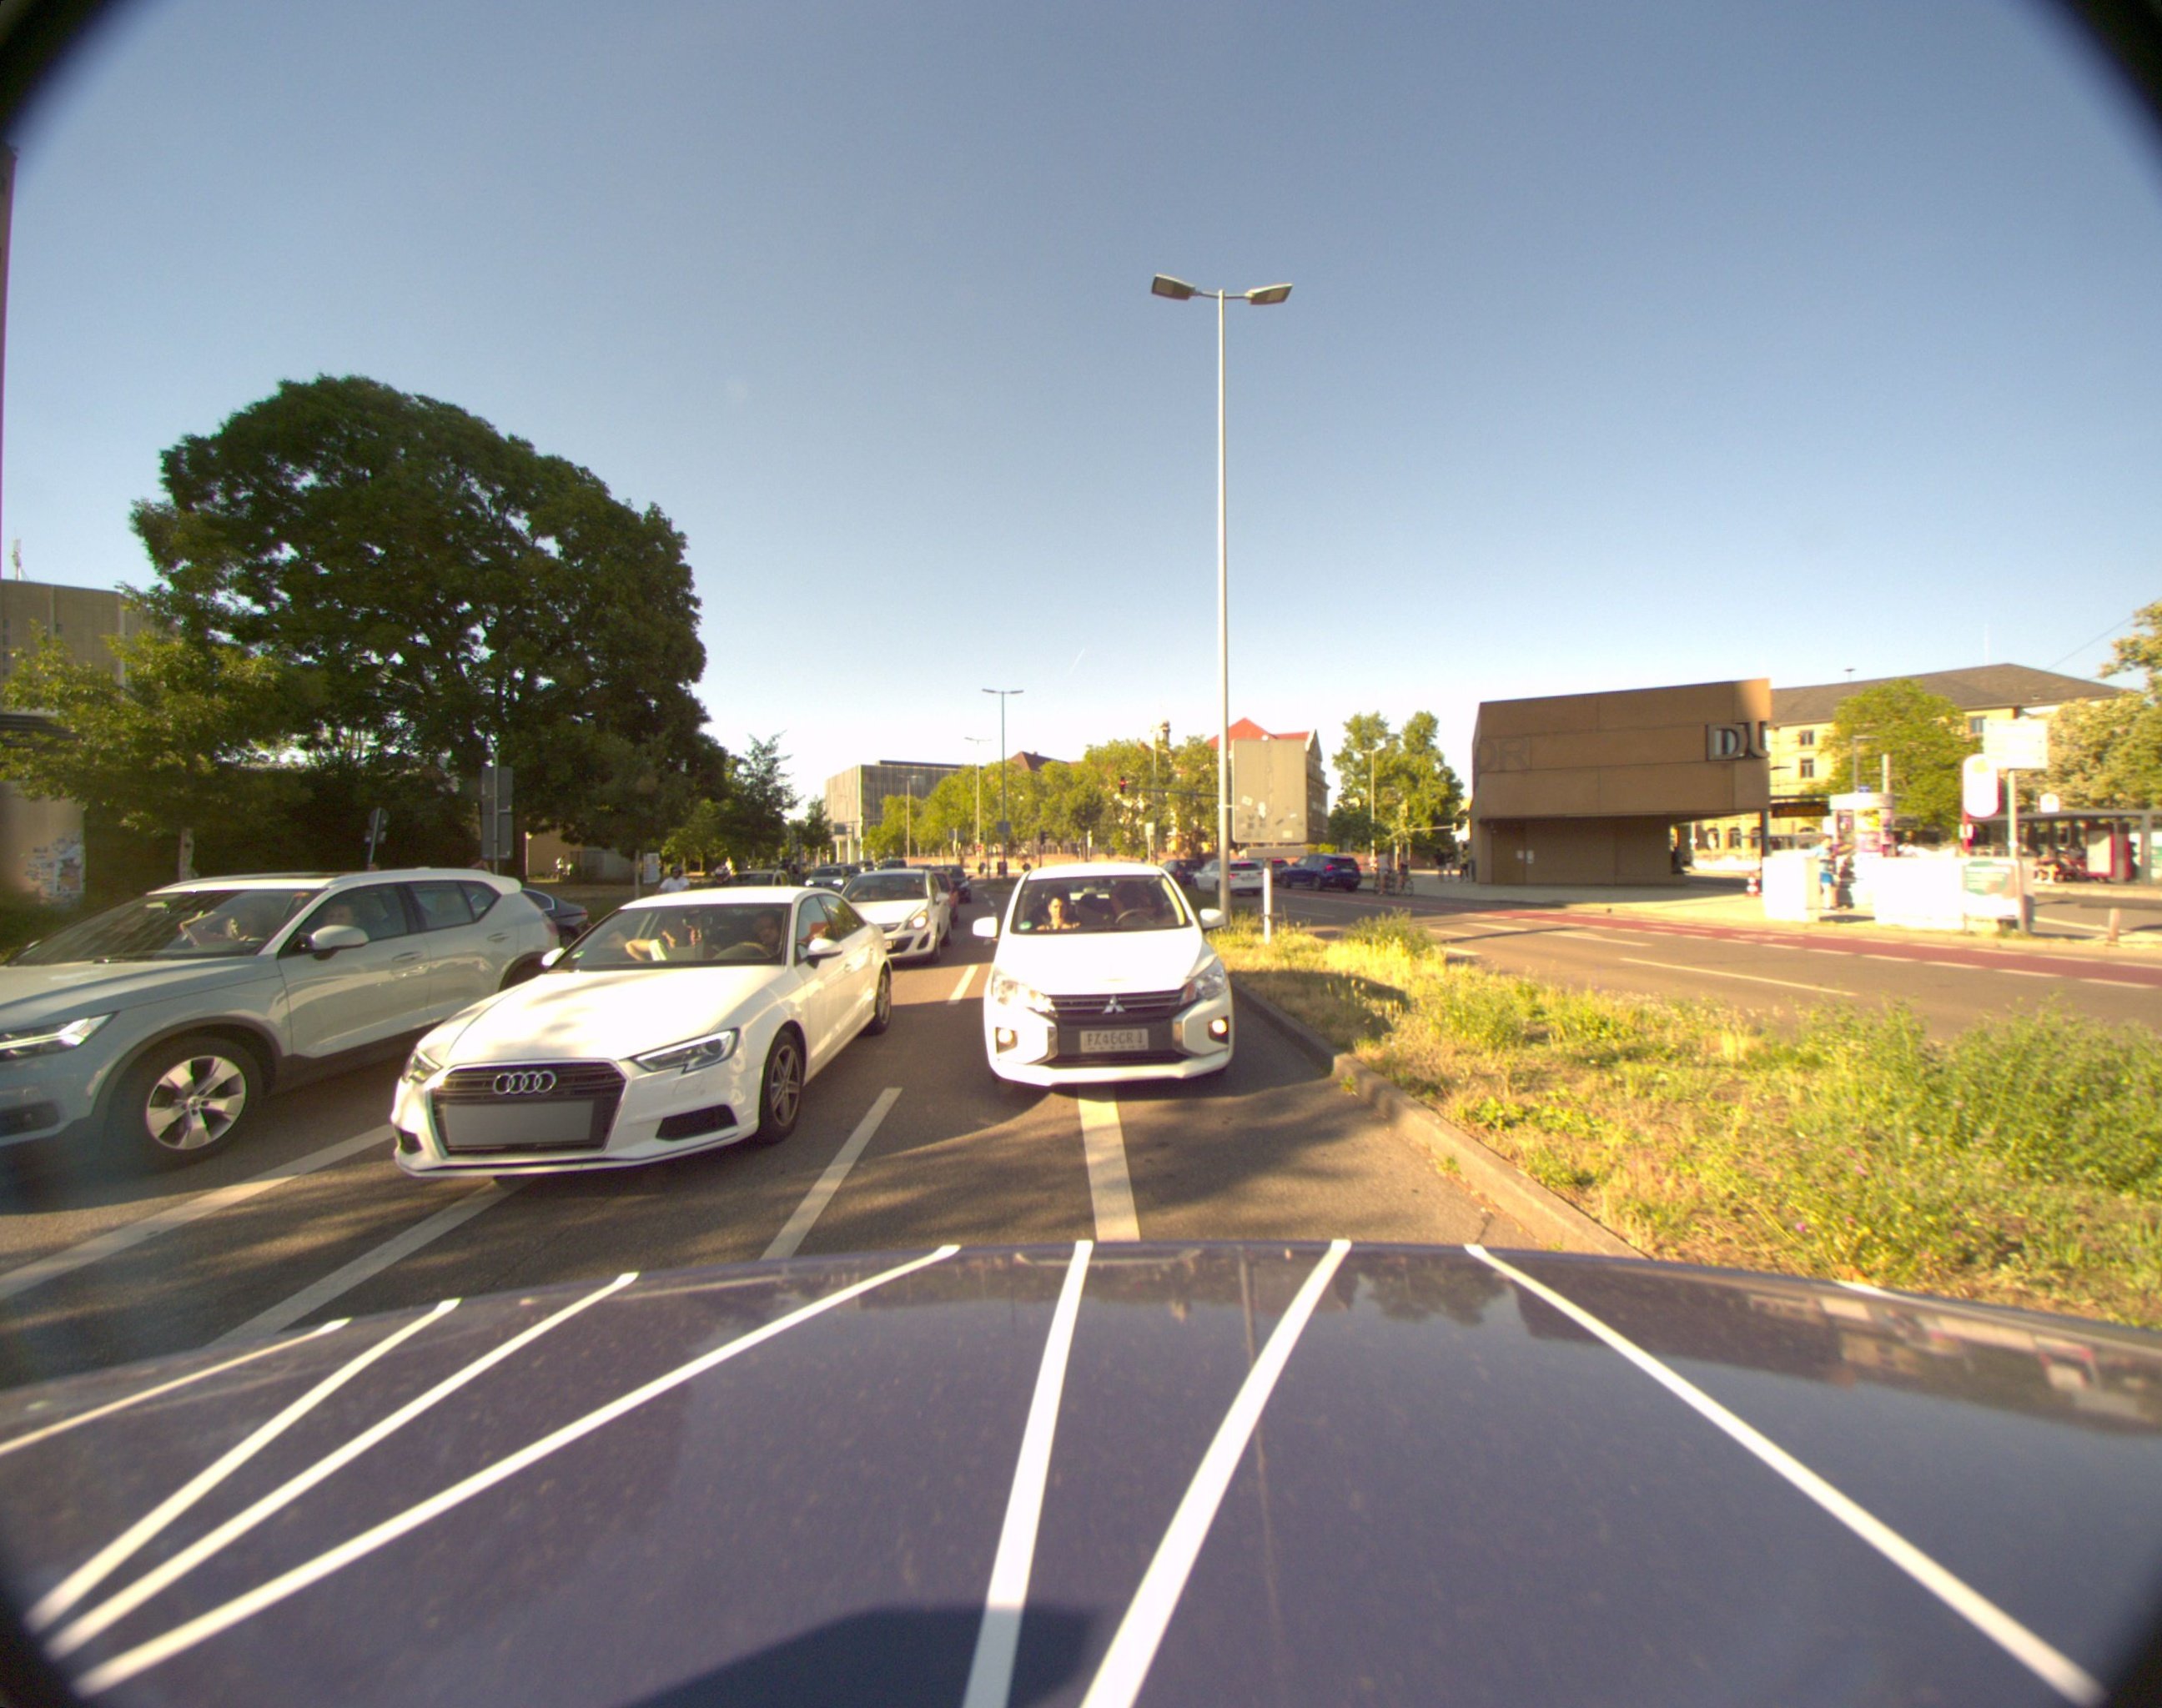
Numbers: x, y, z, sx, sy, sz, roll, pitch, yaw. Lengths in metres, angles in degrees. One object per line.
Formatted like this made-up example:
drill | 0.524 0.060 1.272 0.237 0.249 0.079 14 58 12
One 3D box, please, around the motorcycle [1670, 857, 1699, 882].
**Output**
motorcycle | 26.348 0.694 33.170 0.948 1.061 0.331 -1 1 39

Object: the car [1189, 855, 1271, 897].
car | 6.038 0.851 31.336 1.850 1.483 4.388 -2 1 -10

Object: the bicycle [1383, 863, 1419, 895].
bicycle | 12.439 0.975 29.593 0.464 1.185 1.395 -3 1 -17

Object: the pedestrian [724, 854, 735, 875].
pedestrian | -25.263 0.736 54.591 0.548 1.521 0.603 -3 1 -19

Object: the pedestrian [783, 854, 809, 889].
pedestrian | -16.883 1.010 45.076 1.143 2.002 1.285 -2 1 -10

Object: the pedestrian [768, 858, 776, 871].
pedestrian | -47.658 1.648 117.107 0.840 2.002 1.065 -3 1 -30

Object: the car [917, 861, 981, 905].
car | -5.168 1.051 29.306 1.748 1.536 3.993 -1 0 -20

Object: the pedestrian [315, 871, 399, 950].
pedestrian | -16.691 1.284 17.539 1.010 1.711 0.884 -2 1 -10

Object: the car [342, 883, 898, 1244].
car | -2.557 1.032 5.394 1.628 1.396 3.832 -2 1 -2

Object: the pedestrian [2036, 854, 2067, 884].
pedestrian | 39.016 0.602 30.552 0.539 1.180 0.659 -2 1 29

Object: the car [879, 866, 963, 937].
car | -3.900 1.092 19.100 1.628 1.451 4.039 -2 1 -7

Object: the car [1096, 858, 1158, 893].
car | 2.105 0.981 35.988 1.757 1.451 4.184 -2 1 -13

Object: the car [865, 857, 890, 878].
car | -17.343 1.124 64.638 1.748 1.696 3.993 -1 0 -20

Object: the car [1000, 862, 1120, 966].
car | -0.210 0.948 13.758 1.755 1.451 4.189 -2 1 3

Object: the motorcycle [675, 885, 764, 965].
motorcycle | -6.911 1.308 14.672 0.718 1.297 2.234 -2 1 -4

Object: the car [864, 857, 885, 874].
car | -22.530 1.231 82.695 1.881 1.805 3.993 -1 0 -19

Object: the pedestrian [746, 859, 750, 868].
pedestrian | -58.561 1.648 133.671 0.409 1.476 0.486 -1 1 1

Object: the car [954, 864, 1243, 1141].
car | 0.053 0.889 6.437 1.628 1.451 4.040 -2 1 -2

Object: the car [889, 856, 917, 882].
car | -12.869 1.065 54.954 1.880 1.805 3.995 -1 0 -14

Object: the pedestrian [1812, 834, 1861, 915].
pedestrian | 18.178 0.479 18.297 0.797 1.886 0.612 0 1 40

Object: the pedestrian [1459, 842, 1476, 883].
pedestrian | 19.184 0.443 37.720 0.655 2.002 0.469 -2 1 20

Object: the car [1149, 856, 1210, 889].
car | 4.793 0.876 37.499 1.757 1.451 4.185 -2 1 -10

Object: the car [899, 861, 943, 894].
car | -8.956 1.252 42.246 1.748 1.696 3.993 -1 0 -21

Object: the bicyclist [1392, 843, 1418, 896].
bicyclist | 12.493 0.589 29.328 0.611 2.002 0.708 -1 1 -15

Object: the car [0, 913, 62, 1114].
car | -8.761 1.237 3.886 1.628 1.451 4.040 -2 1 -2

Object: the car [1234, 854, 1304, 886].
car | 9.539 0.784 38.966 1.850 1.483 4.388 1 0 -10

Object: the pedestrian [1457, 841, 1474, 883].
pedestrian | 18.670 0.379 36.885 0.655 2.002 0.469 -2 1 20

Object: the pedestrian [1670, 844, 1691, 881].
pedestrian | 33.481 0.490 42.462 0.780 2.002 0.771 -3 2 -42

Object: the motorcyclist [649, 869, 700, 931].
motorcyclist | -9.059 1.012 16.967 0.718 1.297 0.735 -2 1 -4

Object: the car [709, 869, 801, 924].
car | -10.227 1.277 24.139 1.746 1.516 3.996 -1 0 -9

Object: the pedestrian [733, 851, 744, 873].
pedestrian | -24.706 0.584 54.817 0.548 1.597 0.603 -3 1 -19

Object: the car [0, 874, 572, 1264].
car | -5.753 1.049 5.261 1.628 1.611 4.223 -2 1 -2

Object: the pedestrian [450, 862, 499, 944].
pedestrian | -14.350 1.142 17.992 0.464 1.875 0.696 -2 1 18

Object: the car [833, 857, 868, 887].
car | -14.673 1.113 48.444 1.880 1.805 3.995 -1 0 -14

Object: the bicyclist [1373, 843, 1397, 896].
bicyclist | 11.726 0.581 29.303 0.611 2.002 0.565 -1 1 -15

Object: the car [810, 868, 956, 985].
car | -3.077 1.044 12.583 1.628 1.451 4.039 -2 1 -5

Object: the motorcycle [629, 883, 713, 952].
motorcycle | -9.049 1.352 16.893 0.718 1.297 2.234 -2 1 -4

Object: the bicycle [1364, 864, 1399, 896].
bicycle | 11.655 1.007 29.461 0.464 1.185 1.395 -3 1 -17

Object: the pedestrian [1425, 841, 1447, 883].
pedestrian | 17.560 0.381 37.596 0.777 2.002 0.773 -2 1 13

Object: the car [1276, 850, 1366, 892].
car | 10.376 0.704 33.154 1.757 1.680 4.183 -1 0 -15

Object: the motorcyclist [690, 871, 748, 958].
motorcyclist | -6.896 1.131 14.504 0.711 1.581 0.690 -2 1 -4

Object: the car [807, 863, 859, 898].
car | -11.863 1.244 36.578 1.746 1.536 3.996 -1 0 -9

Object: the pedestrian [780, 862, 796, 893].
pedestrian | -15.621 1.237 40.475 0.596 1.585 0.594 -2 1 -8
